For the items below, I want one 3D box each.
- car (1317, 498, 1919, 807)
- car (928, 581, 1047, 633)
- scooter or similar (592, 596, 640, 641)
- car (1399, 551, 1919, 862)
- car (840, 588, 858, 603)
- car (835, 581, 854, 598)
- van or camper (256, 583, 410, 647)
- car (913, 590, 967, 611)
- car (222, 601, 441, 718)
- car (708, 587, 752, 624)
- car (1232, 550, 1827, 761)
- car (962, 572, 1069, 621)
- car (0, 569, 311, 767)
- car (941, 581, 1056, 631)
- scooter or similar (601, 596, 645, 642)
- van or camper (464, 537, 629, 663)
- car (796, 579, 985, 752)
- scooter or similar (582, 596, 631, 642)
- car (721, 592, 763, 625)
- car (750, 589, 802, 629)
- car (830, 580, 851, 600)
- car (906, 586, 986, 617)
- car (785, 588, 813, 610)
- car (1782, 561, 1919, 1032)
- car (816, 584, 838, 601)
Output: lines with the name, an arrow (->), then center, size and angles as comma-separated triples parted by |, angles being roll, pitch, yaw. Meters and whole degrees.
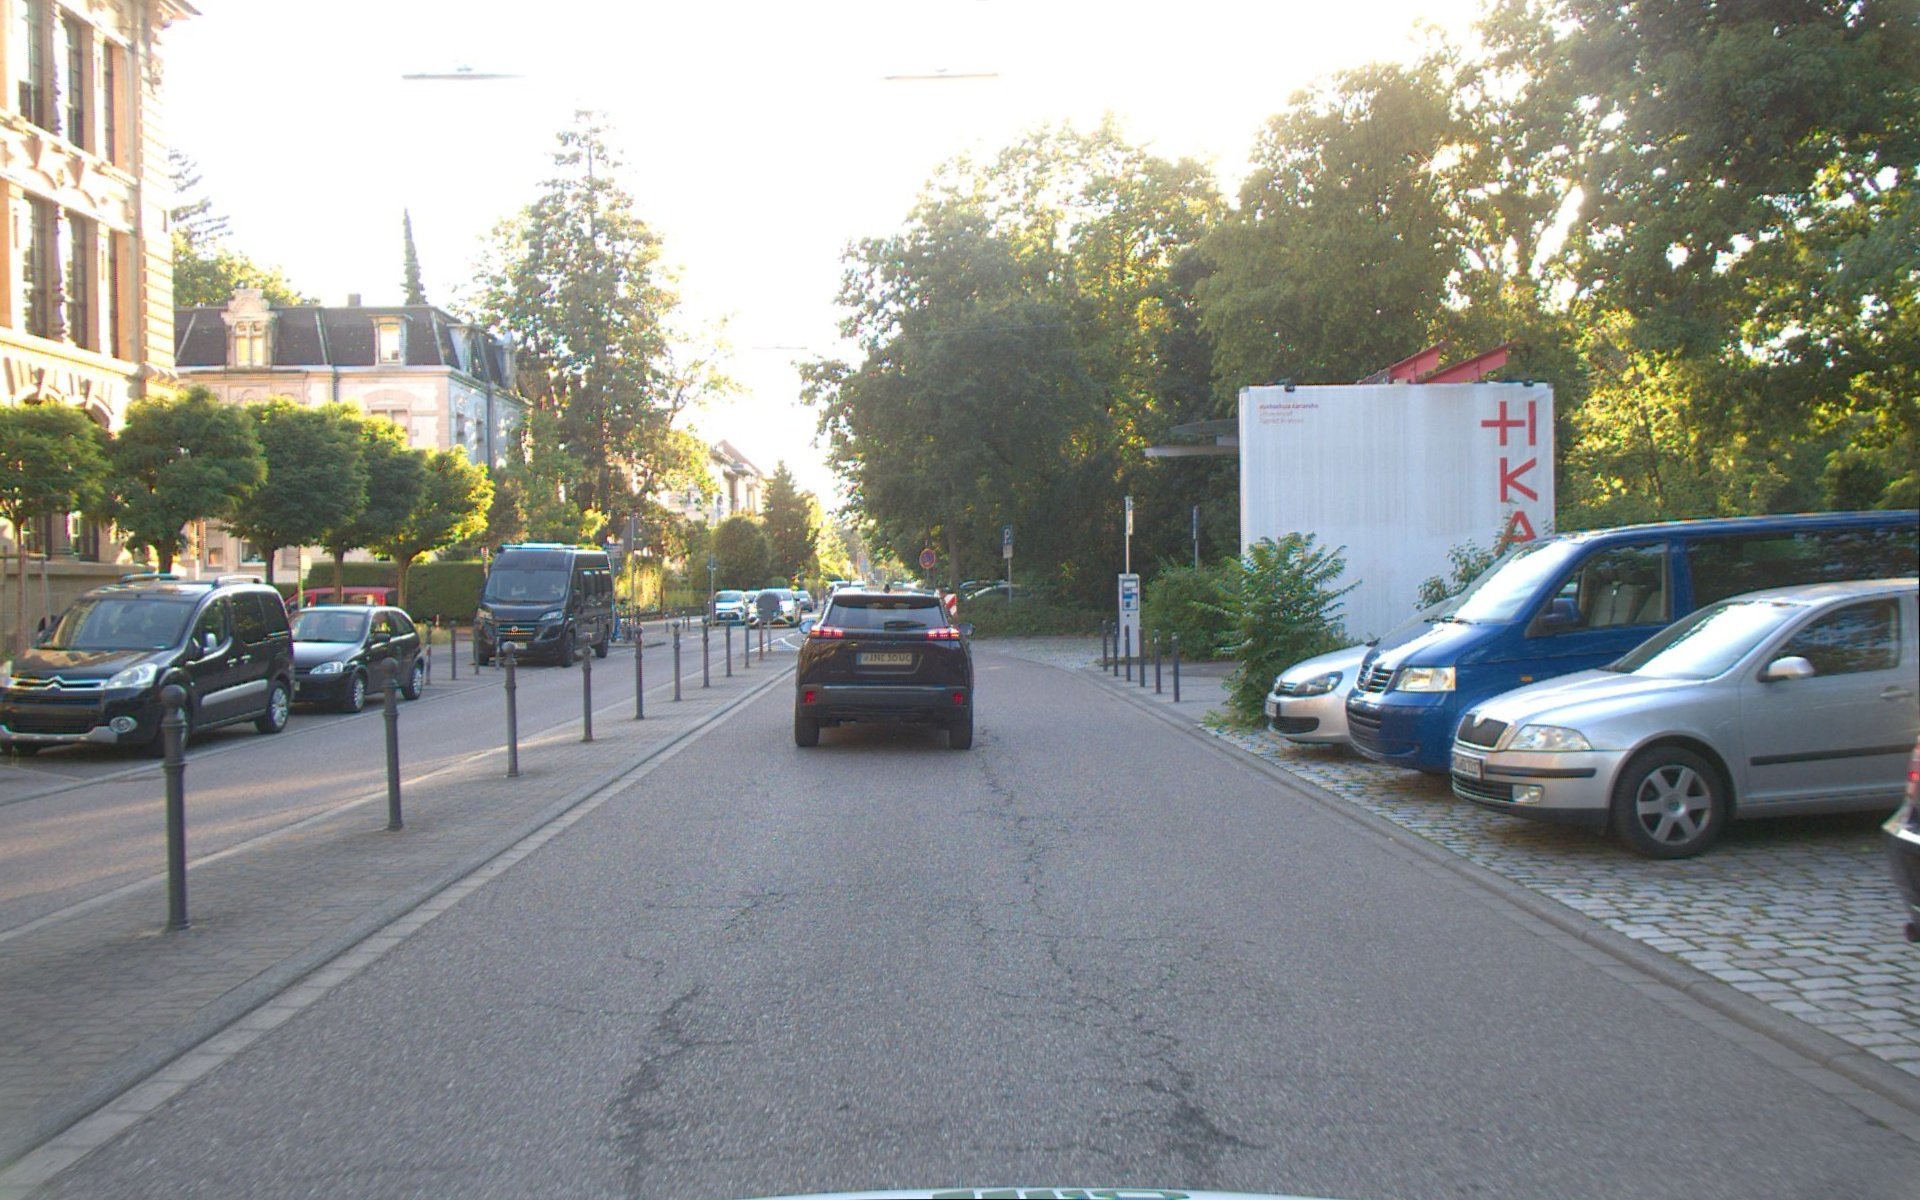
car -> 5.340, 0.326, 12.524 | 4.755, 1.949, 1.915 | -3, 0, -3
car -> 0.899, 0.229, 55.780 | 3.907, 1.581, 1.725 | -1, 2, -2
scooter or similar -> -10.166, 0.543, 48.921 | 1.330, 1.297, 0.426 | -1, 0, -37
car -> 5.414, 0.523, 10.208 | 4.828, 1.581, 1.915 | -3, 0, -3
car -> -13.385, -0.547, 199.328 | 1.953, 1.847, 3.998 | -1, 0, -2
car -> -12.824, -1.191, 183.565 | 1.953, 1.799, 3.998 | -1, 0, -2
van or camper -> -22.518, 0.525, 59.552 | 4.670, 2.020, 2.001 | -1, 5, 0
car -> -1.496, 0.029, 123.442 | 3.911, 1.552, 1.755 | -1, 0, -7
car -> -8.980, 0.798, 23.984 | 1.661, 1.496, 3.854 | 1, 0, 0
car -> -10.122, 0.228, 73.008 | 1.582, 1.541, 3.709 | -3, 0, -3
car -> 5.152, 0.473, 15.404 | 4.828, 1.581, 1.915 | -3, 0, -3
car -> 2.263, -0.158, 68.601 | 4.221, 1.836, 2.034 | -2, 0, -3
car -> -8.900, 0.638, 18.333 | 1.741, 1.898, 4.331 | 1, 0, -1
car -> 1.321, 0.206, 58.115 | 3.907, 1.581, 1.725 | -1, 2, -2
scooter or similar -> -9.747, 0.542, 47.879 | 0.423, 1.297, 1.340 | -1, 0, 33
van or camper -> -9.269, 0.001, 37.784 | 2.185, 2.589, 7.077 | 1, 0, -2
car -> -0.691, 0.580, 17.350 | 1.736, 1.596, 4.108 | 0, 1, -1
scooter or similar -> -10.307, 0.548, 48.229 | 1.330, 1.297, 0.426 | -1, 0, -37
car -> -10.349, 0.388, 78.752 | 1.581, 1.511, 3.740 | -1, 0, -2
car -> -7.252, 0.352, 65.518 | 1.706, 1.483, 4.622 | -2, 0, -2
car -> -12.419, -1.053, 171.702 | 1.953, 2.049, 3.999 | -1, 0, -1
car -> -0.781, 0.082, 88.871 | 4.159, 1.474, 2.020 | -2, 0, -4
car -> -11.249, -0.093, 115.794 | 1.717, 1.438, 3.762 | -3, 1, -3
car -> 5.320, 0.553, 5.409 | 4.276, 1.564, 1.920 | -3, 0, -3
car -> -12.893, -0.690, 160.427 | 1.861, 1.601, 3.998 | -1, 0, -2
